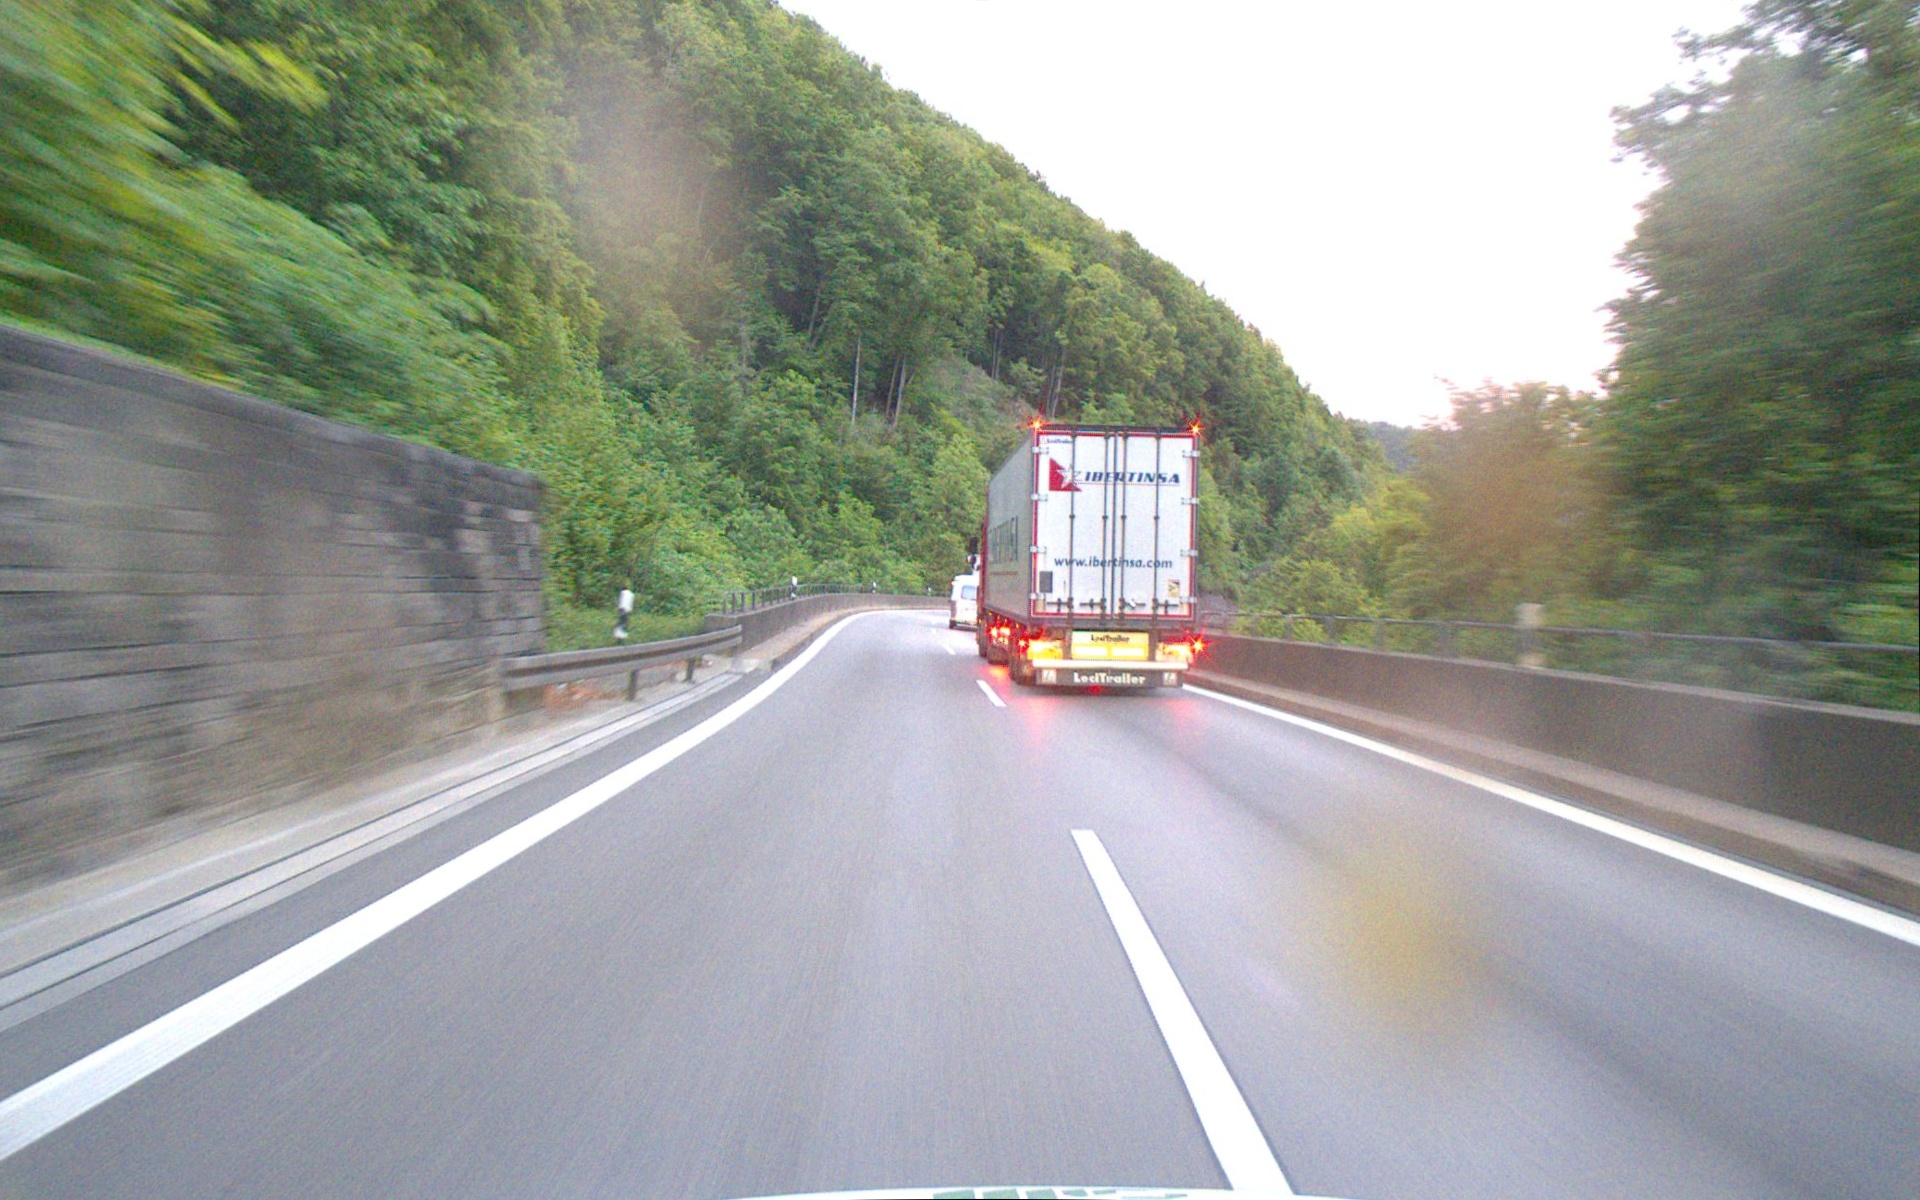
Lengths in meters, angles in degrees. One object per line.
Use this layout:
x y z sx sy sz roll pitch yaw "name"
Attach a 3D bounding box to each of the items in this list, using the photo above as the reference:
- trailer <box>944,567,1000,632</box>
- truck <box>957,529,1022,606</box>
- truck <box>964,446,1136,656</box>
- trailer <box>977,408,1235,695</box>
0.568 -0.067 71.285 2.013 2.414 5.940 7 2 2 "trailer"
2.089 -1.919 107.754 3.226 4.246 16.509 3 -1 4 "truck"
1.876 -1.040 37.470 3.008 4.217 6.442 2 0 -4 "truck"
2.207 -0.799 31.272 3.035 4.039 14.214 -3 1 -2 "trailer"
